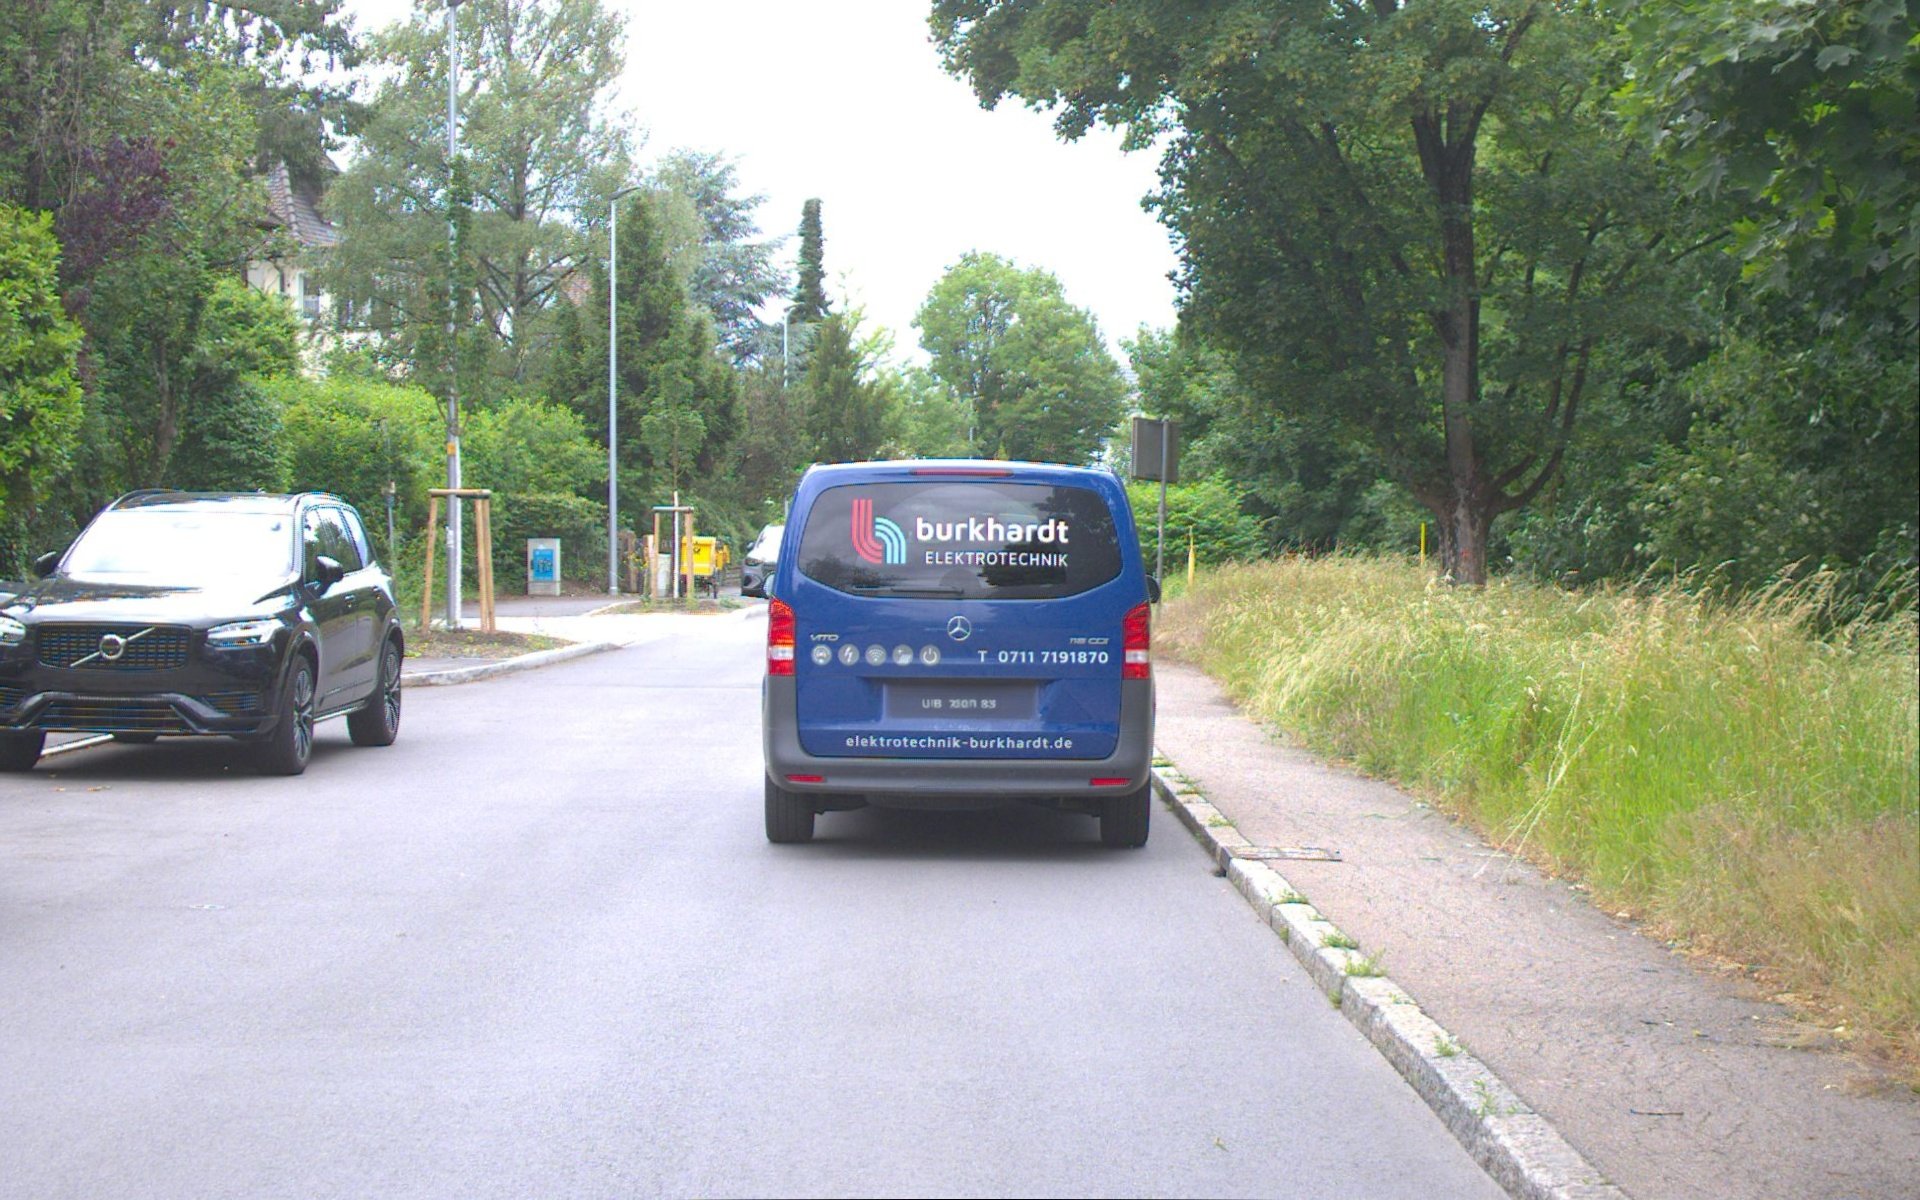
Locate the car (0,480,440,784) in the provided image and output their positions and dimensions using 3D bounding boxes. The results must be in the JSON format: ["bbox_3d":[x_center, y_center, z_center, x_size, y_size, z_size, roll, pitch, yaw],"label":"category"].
[{"bbox_3d":[-4.890,0.129,22.606,1.974,1.731,5.189,1,1,2],"label":"car"}]

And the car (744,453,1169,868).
[{"bbox_3d":[-0.093,0.195,17.658,1.888,1.837,4.001,2,3,-2],"label":"car"}]

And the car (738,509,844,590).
[{"bbox_3d":[-3.599,-1.100,73.853,1.836,1.625,4.300,2,1,3],"label":"car"}]

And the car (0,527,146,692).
[{"bbox_3d":[-9.362,0.053,30.483,3.823,1.380,1.778,0,2,3],"label":"car"}]

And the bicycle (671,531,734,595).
[{"bbox_3d":[-5.302,-0.774,70.992,0.906,1.247,2.916,3,1,3],"label":"bicycle"}]

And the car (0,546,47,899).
[{"bbox_3d":[-4.768,0.515,11.886,1.754,1.408,4.898,1,1,2],"label":"car"}]

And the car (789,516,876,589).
[{"bbox_3d":[-3.198,-1.215,86.750,1.832,1.745,4.000,2,2,3],"label":"car"}]
